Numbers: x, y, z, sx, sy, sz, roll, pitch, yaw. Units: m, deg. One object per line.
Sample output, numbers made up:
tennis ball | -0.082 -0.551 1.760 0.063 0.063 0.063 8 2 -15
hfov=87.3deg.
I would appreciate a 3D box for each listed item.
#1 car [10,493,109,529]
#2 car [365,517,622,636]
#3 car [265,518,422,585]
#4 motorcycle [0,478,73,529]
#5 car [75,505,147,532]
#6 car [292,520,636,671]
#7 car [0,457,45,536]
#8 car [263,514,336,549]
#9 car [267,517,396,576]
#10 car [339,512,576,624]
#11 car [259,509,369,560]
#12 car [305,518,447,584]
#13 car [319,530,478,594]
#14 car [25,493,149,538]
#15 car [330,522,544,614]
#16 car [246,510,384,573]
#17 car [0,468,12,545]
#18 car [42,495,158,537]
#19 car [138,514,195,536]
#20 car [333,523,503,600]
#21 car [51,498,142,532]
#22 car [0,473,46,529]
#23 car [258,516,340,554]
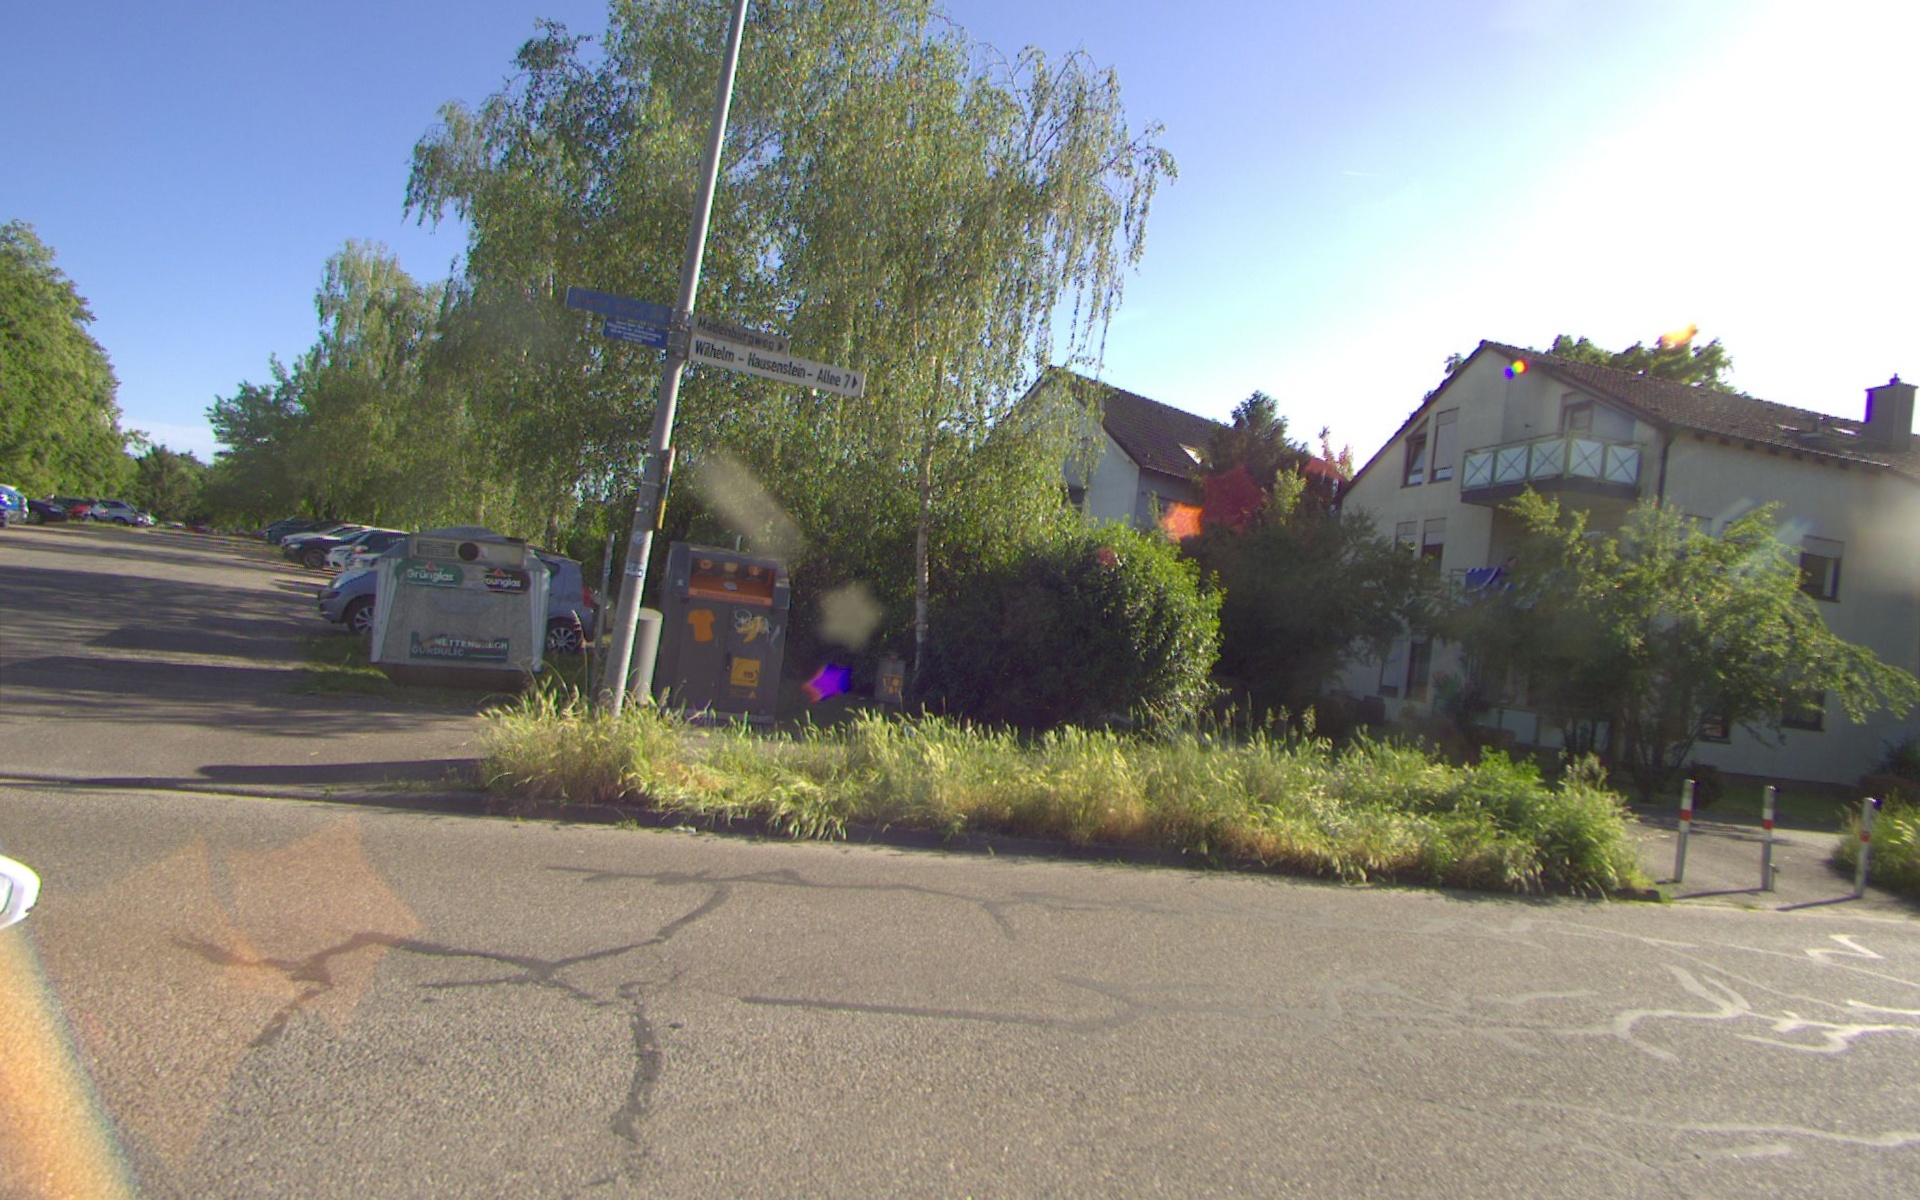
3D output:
car | -50.839 -5.022 56.891 3.919 1.350 1.829 8 -1 -37
car | -8.920 -0.417 19.411 4.039 1.622 1.769 9 0 -41
car | -19.213 -1.490 31.460 3.962 1.417 1.782 9 -2 -33
motorcycle | -36.554 -3.811 38.886 3.172 1.615 0.914 8 0 -35
car | -63.662 -6.097 75.532 3.919 1.350 1.829 8 -1 -37
car | -6.823 -0.025 14.256 4.014 1.455 1.626 9 -1 -23
car | -30.138 -3.361 28.233 6.226 2.173 2.386 8 -1 -38
car | -45.051 -4.659 68.741 3.962 1.728 1.782 9 -1 -33
car | -24.105 -2.021 38.703 3.962 1.604 1.782 9 -2 -33
car | -10.723 -0.657 21.637 4.091 1.727 1.769 9 0 -42
car | -29.104 -2.915 45.436 3.962 1.604 1.782 9 -2 -33
car | -19.983 -1.646 34.500 3.962 1.604 1.782 9 -2 -33
car | -16.836 -1.111 30.285 3.959 1.292 1.784 9 -2 -31
car | -38.692 -3.723 44.709 3.919 1.350 1.829 8 -1 -37
car | -12.369 -0.734 23.938 4.091 1.517 1.769 9 0 -42
car | -23.109 -2.058 36.187 3.962 1.604 1.782 9 -2 -33
car | -24.043 -2.416 21.925 4.490 1.792 1.832 8 0 -31
car | -40.186 -3.907 47.142 3.919 1.350 1.829 8 -1 -37
car | -66.822 -6.318 84.799 3.625 1.227 1.829 8 -1 -37
car | -15.213 -1.043 28.326 3.959 1.521 1.933 9 -2 -31
car | -51.666 -5.078 60.284 3.919 1.350 1.829 8 -1 -37
car | -34.986 -3.710 34.908 4.496 1.792 1.830 8 0 -35
car | -39.799 -3.874 60.674 3.962 1.604 1.782 9 -2 -33
